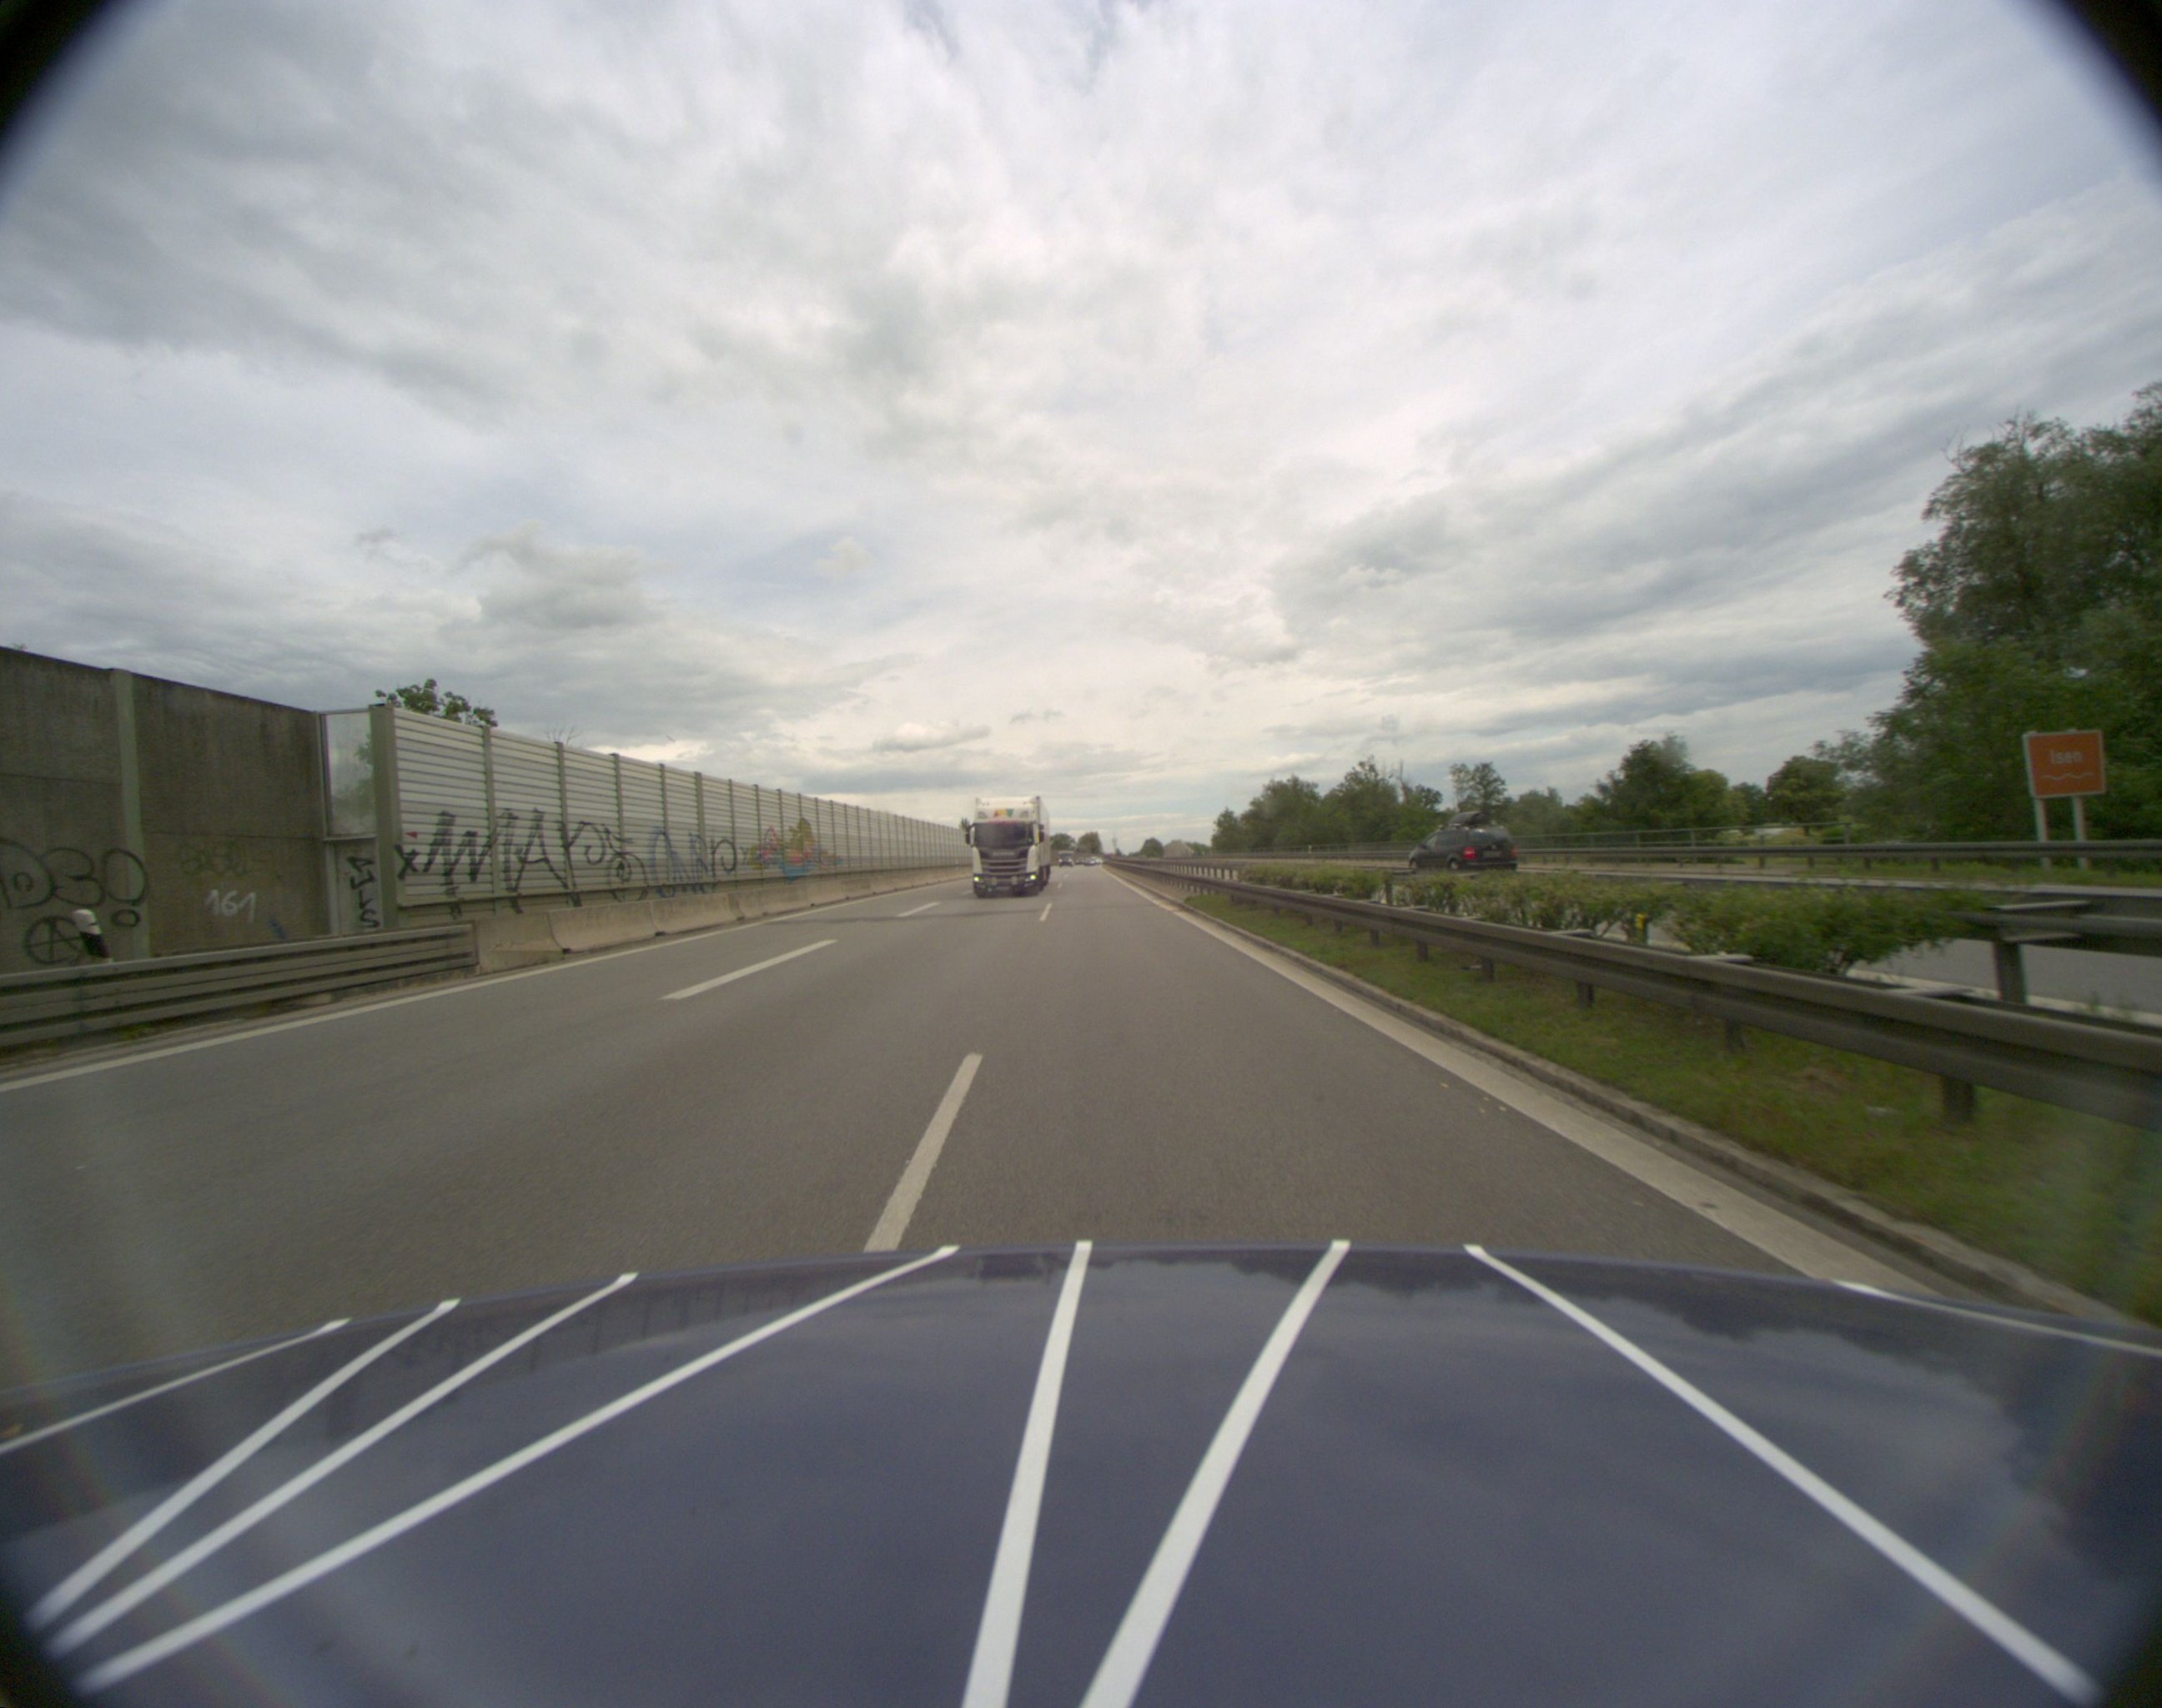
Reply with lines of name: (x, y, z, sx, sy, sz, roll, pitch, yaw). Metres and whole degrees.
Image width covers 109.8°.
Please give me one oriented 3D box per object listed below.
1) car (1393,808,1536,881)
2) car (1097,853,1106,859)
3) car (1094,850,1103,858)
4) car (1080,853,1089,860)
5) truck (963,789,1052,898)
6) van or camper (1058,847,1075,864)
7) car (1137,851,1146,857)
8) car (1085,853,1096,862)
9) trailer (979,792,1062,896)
car: (12.080, -0.289, 24.353, 1.999, 1.991, 4.742, -3, 1, -2)
car: (5.239, 0.489, 193.785, 1.889, 1.608, 4.000, -3, 0, 3)
car: (3.775, 0.060, 162.350, 1.889, 1.608, 4.001, -2, -1, 0)
car: (0.832, 0.552, 171.622, 1.889, 1.608, 3.999, -3, 0, 0)
truck: (-2.827, -0.362, 31.078, 2.762, 3.936, 5.678, -2, 0, 2)
van or camper: (-2.405, 0.325, 126.582, 2.435, 2.680, 7.227, -2, -1, 1)
car: (15.821, 0.063, 199.346, 1.974, 1.395, 4.710, -2, -1, 2)
car: (1.704, 0.625, 134.486, 1.889, 1.608, 4.001, -2, -1, 0)
trailer: (-2.670, -0.465, 38.391, 2.800, 4.150, 14.102, -2, 0, 0)
